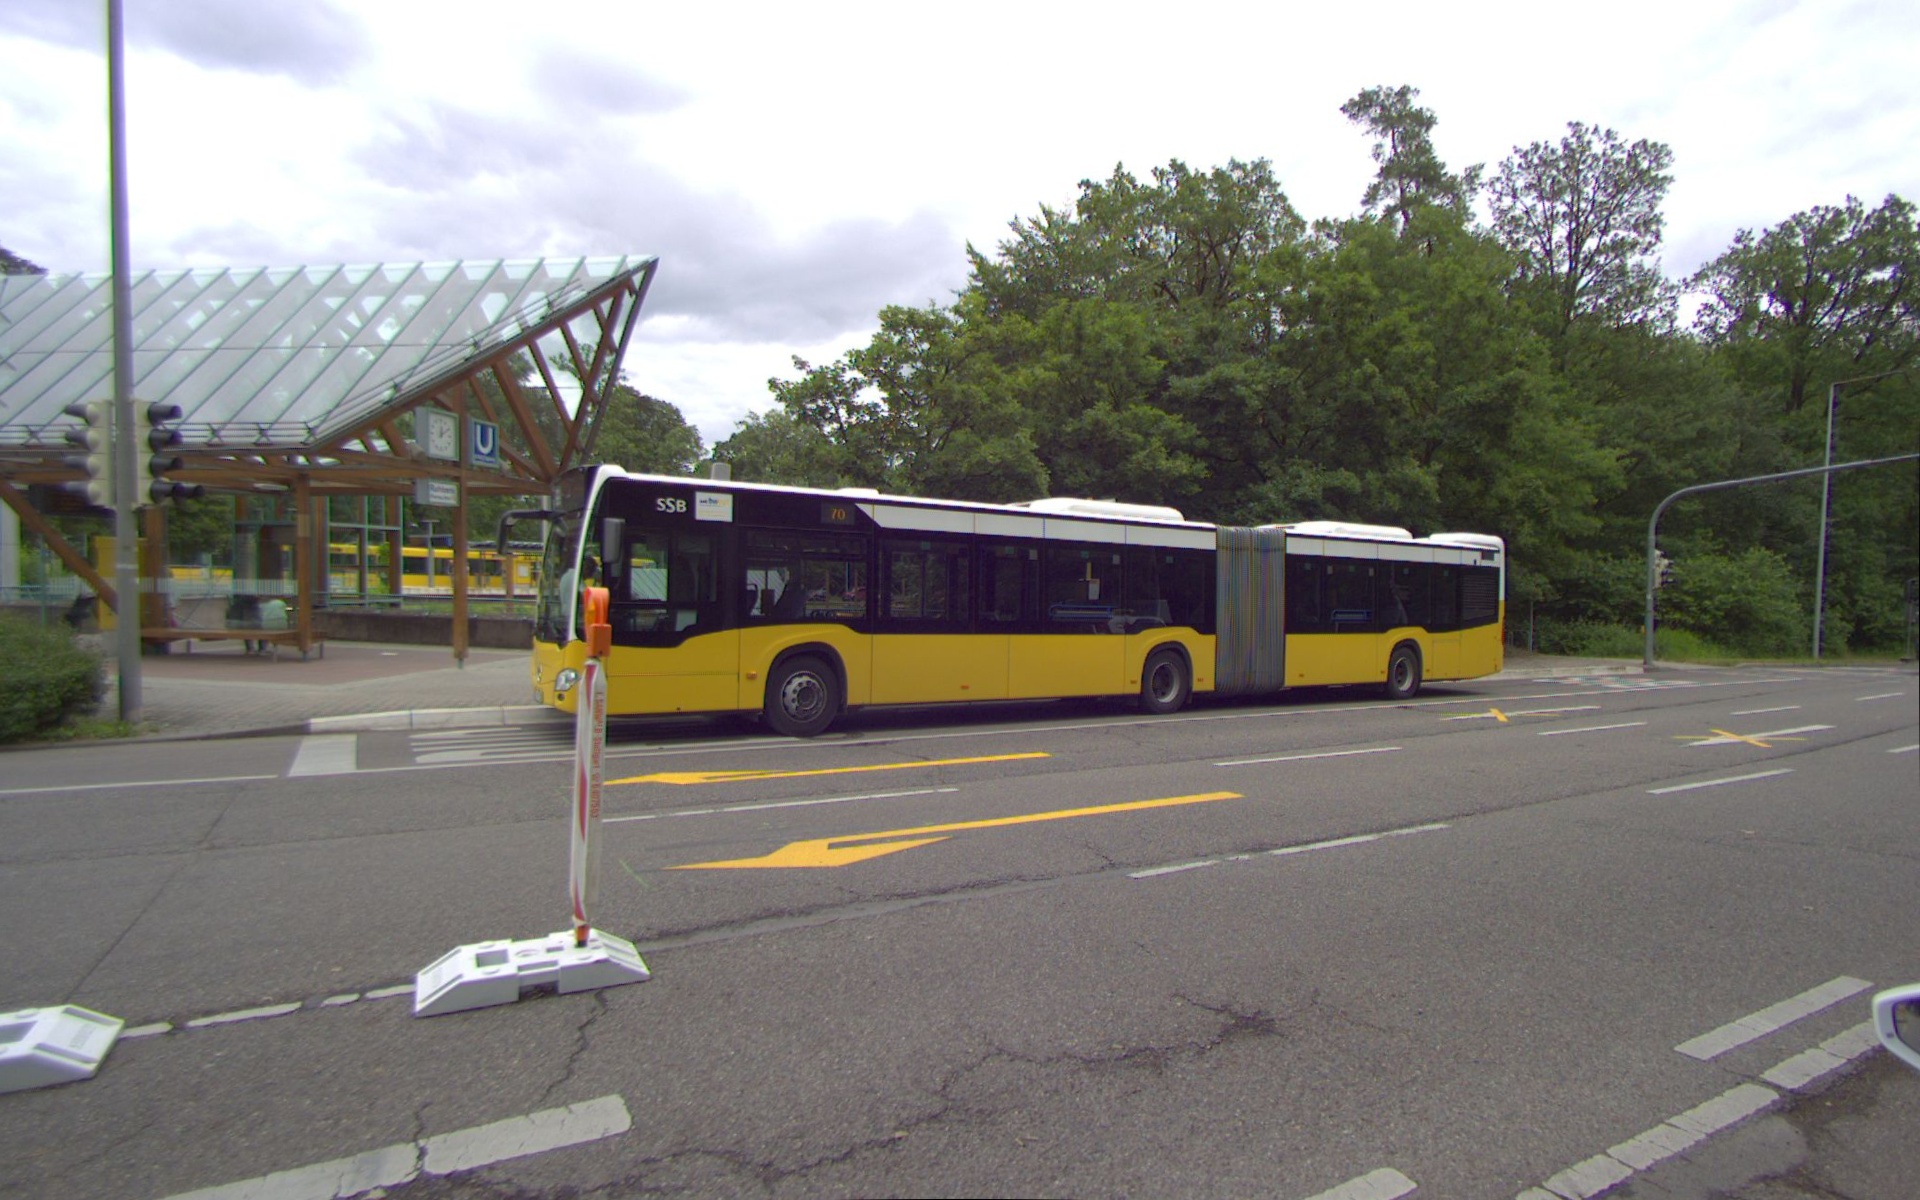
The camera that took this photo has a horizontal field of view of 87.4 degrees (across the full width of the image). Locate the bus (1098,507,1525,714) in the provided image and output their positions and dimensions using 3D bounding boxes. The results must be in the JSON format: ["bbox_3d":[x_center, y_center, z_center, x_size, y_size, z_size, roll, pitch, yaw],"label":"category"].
[{"bbox_3d":[6.859,0.210,18.928,8.599,3.169,2.882,1,0,-33],"label":"bus"}]

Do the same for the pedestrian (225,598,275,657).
[{"bbox_3d":[-12.598,0.486,17.840,0.556,0.997,0.547,1,2,-13],"label":"pedestrian"}]

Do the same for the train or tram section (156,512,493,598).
[{"bbox_3d":[-38.378,-2.639,62.657,3.520,4.595,18.658,2,2,26],"label":"train or tram section"}]

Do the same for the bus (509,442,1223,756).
[{"bbox_3d":[-0.818,0.053,13.979,9.653,3.169,2.882,1,0,-33],"label":"bus"}]

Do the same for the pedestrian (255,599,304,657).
[{"bbox_3d":[-12.134,0.495,17.924,0.556,0.997,0.556,1,2,-14],"label":"pedestrian"}]

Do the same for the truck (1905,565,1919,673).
[{"bbox_3d":[33.125,0.691,32.475,7.096,3.362,2.718,2,-2,-38],"label":"truck"}]

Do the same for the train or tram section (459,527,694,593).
[{"bbox_3d":[-29.630,-3.032,80.220,3.520,4.595,20.626,2,2,26],"label":"train or tram section"}]

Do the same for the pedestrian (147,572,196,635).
[{"bbox_3d":[-16.636,0.071,21.207,0.751,1.286,0.393,2,2,8],"label":"pedestrian"}]
